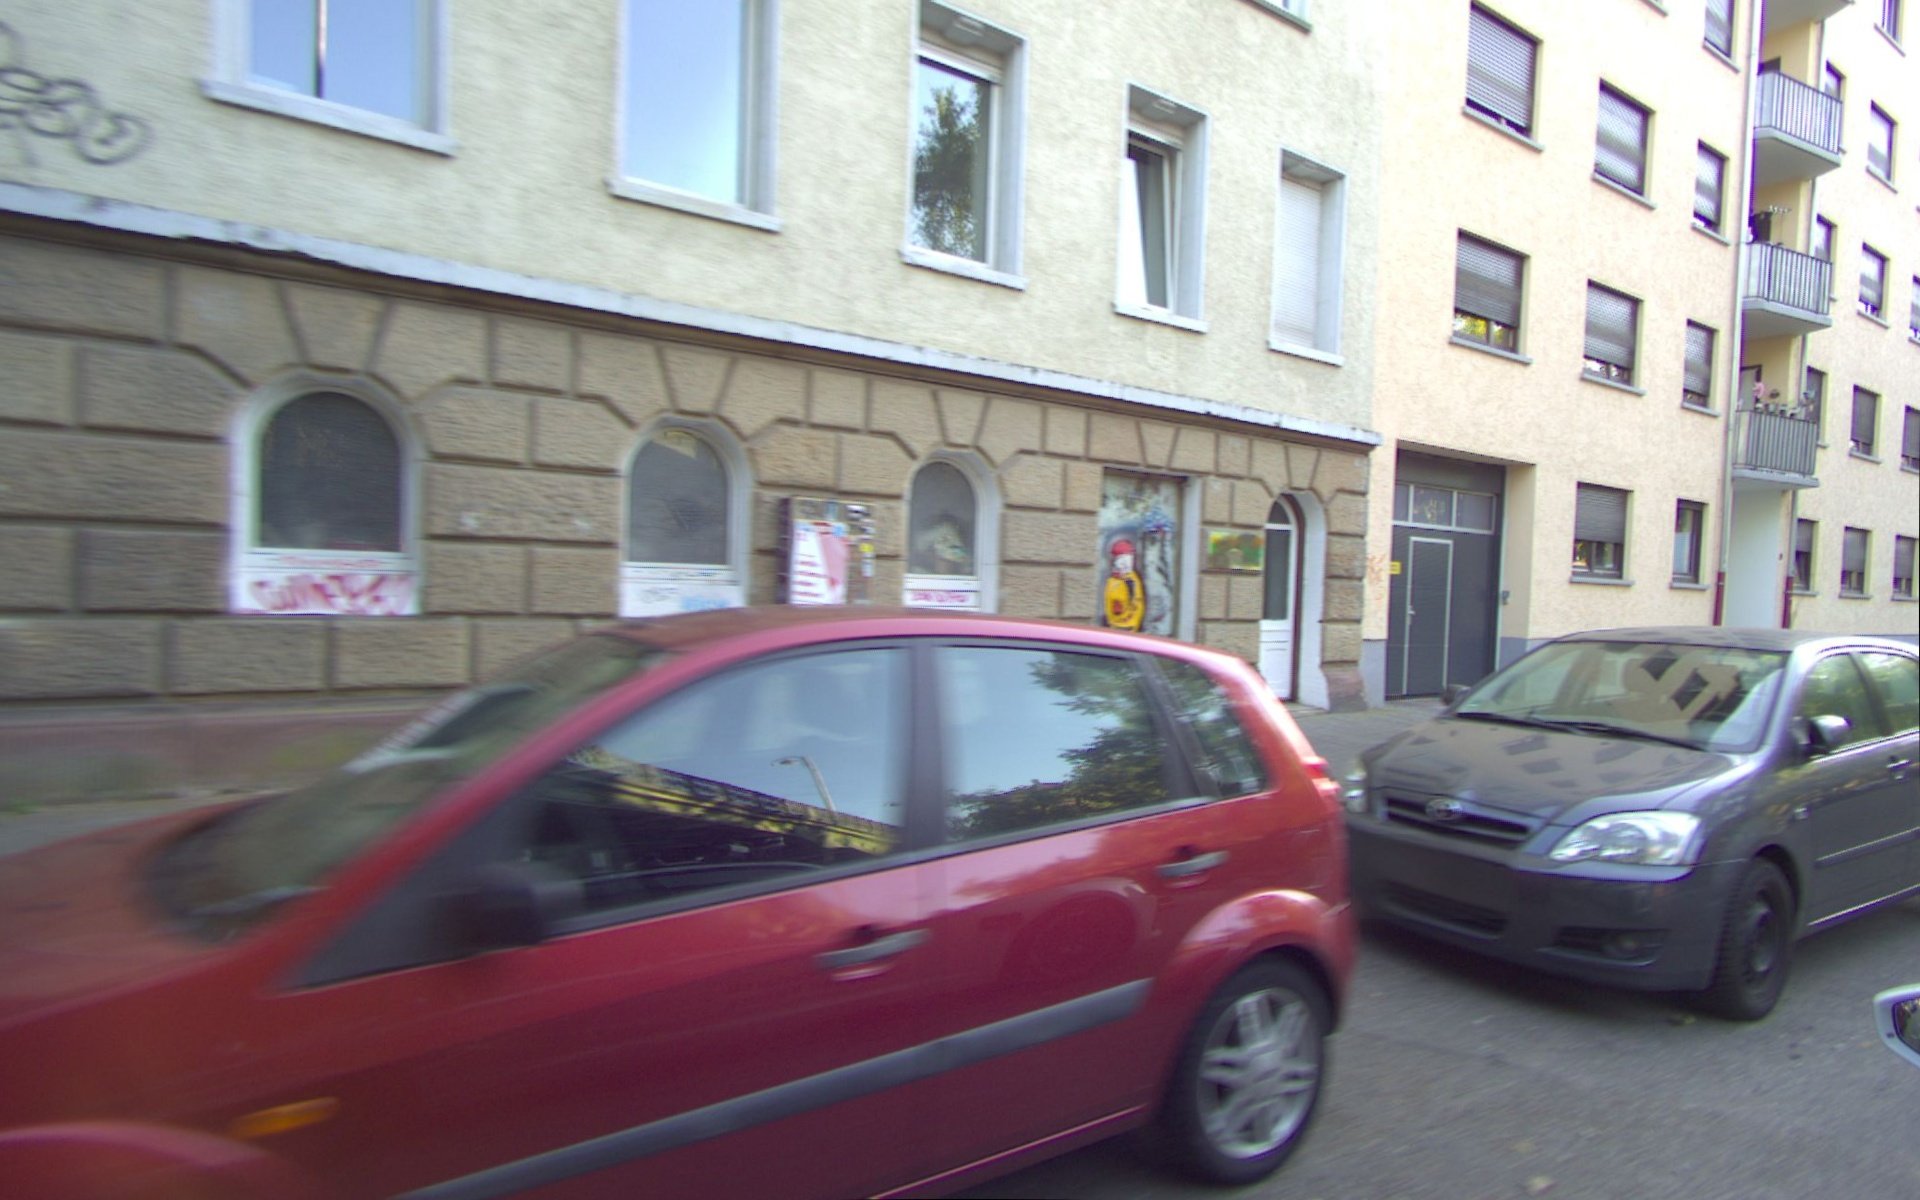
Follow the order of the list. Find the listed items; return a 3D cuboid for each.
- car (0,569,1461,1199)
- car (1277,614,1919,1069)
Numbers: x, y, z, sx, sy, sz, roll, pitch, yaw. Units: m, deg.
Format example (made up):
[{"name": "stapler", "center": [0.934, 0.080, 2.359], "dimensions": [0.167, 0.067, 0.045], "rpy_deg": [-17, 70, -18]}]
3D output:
[{"name": "car", "center": [-0.712, 0.719, 2.555], "dimensions": [3.955, 1.460, 1.680], "rpy_deg": [2, 1, -31]}, {"name": "car", "center": [3.585, 0.846, 5.019], "dimensions": [3.954, 1.486, 1.628], "rpy_deg": [2, -1, -31]}]
